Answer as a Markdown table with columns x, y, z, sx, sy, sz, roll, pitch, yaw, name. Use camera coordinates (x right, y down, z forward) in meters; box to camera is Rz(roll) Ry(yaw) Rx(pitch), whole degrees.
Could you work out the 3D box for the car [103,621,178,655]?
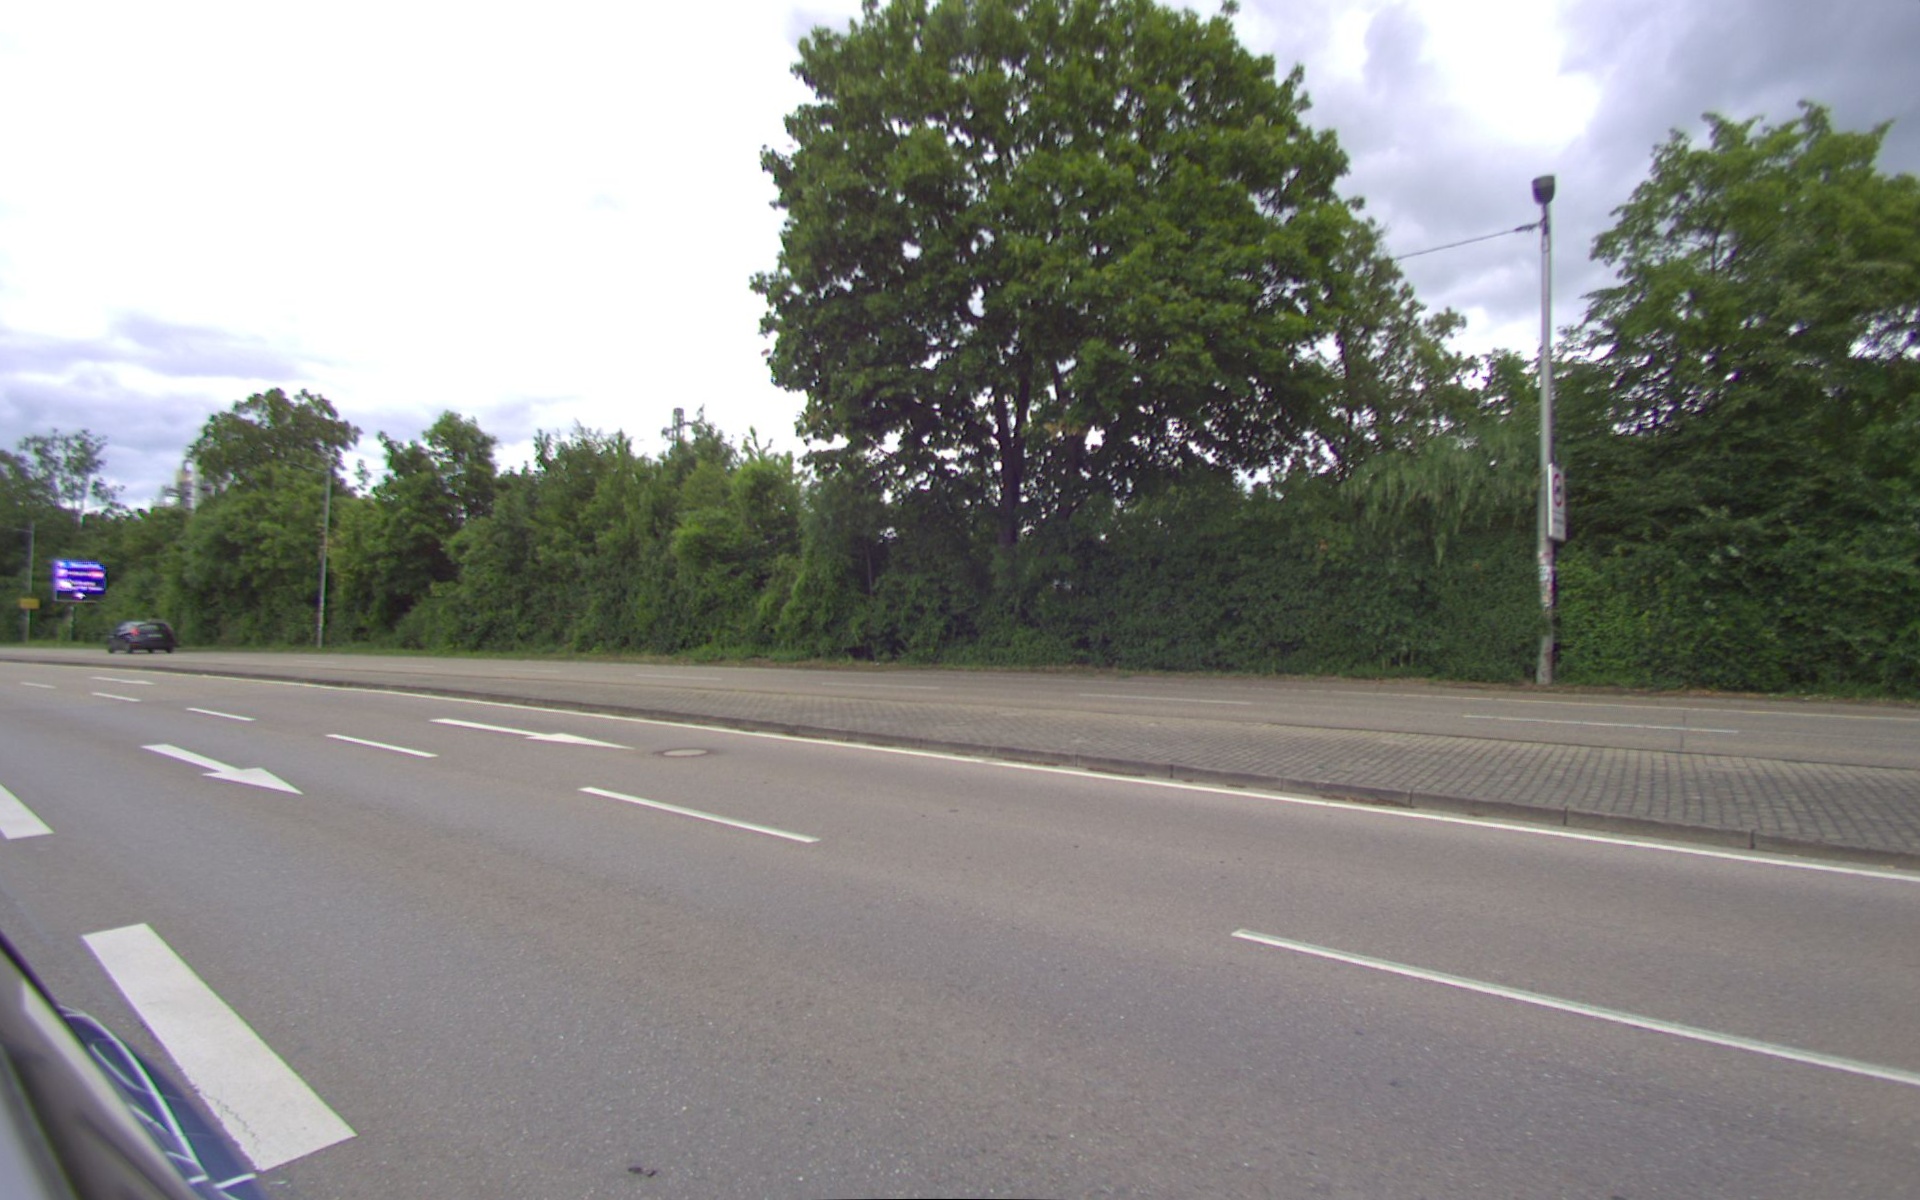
| x | y | z | sx | sy | sz | roll | pitch | yaw | name |
| --- | --- | --- | --- | --- | --- | --- | --- | --- | --- |
| -37.437 | 1.702 | 46.183 | 3.992 | 1.475 | 1.684 | -1 | 0 | 36 | car |
